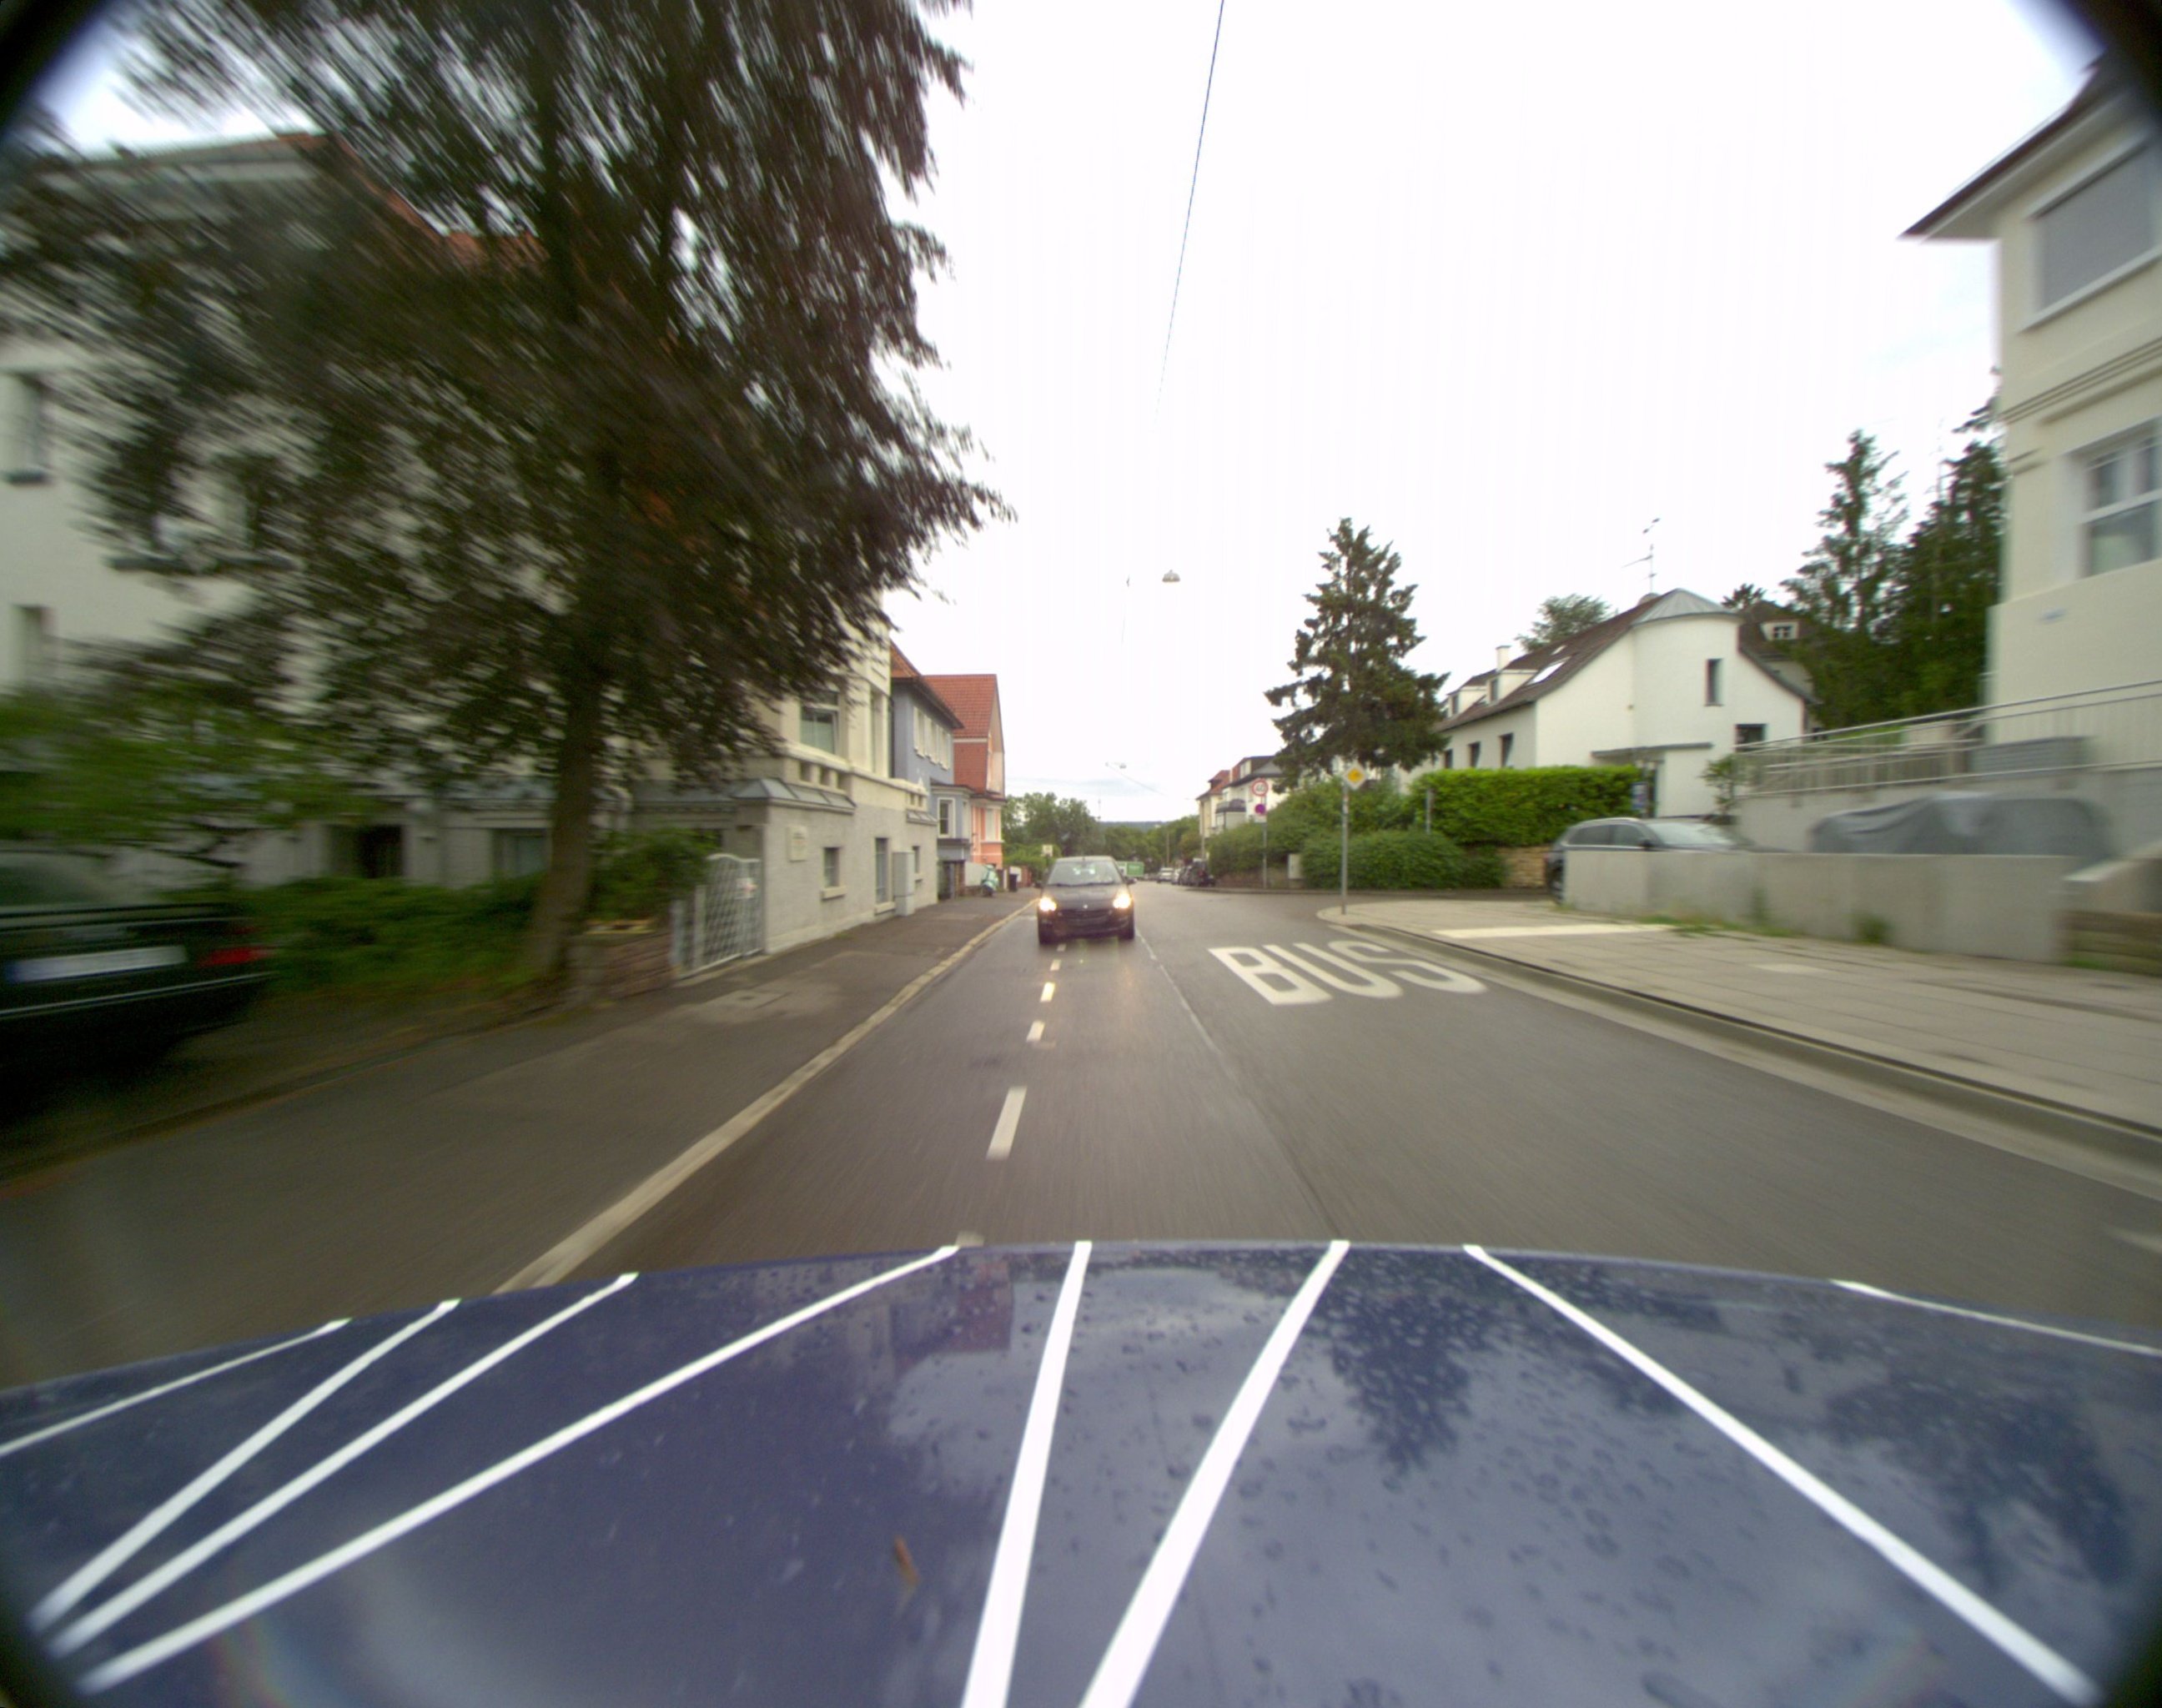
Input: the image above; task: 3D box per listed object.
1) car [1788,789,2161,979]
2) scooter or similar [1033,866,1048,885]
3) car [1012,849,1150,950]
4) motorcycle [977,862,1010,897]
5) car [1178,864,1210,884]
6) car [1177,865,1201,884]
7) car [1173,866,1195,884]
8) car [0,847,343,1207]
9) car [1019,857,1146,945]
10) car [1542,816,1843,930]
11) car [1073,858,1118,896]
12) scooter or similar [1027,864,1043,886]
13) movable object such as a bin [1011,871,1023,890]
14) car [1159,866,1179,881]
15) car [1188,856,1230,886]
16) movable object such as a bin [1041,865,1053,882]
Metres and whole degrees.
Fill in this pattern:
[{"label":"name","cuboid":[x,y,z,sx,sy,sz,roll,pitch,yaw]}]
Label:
[{"label":"car","cuboid":[10.364,0.272,8.105,1.770,1.686,3.999,-1,-1,-3]},{"label":"scooter or similar","cuboid":[-2.846,1.524,53.443,0.357,1.265,1.290,-1,1,-37]},{"label":"car","cuboid":[0.166,0.738,13.524,1.695,1.482,3.944,-3,-1,11]},{"label":"motorcycle","cuboid":[-3.301,0.956,28.765,0.694,1.219,2.154,5,0,5]},{"label":"car","cuboid":[8.691,1.553,58.826,1.696,1.482,4.404,-2,-1,-1]},{"label":"car","cuboid":[8.981,1.733,63.255,1.521,1.482,2.895,-2,-1,1]},{"label":"car","cuboid":[9.128,1.841,67.558,1.594,1.482,3.438,-2,-1,2]},{"label":"car","cuboid":[-6.732,0.794,3.825,4.156,1.478,1.976,-1,4,5]},{"label":"car","cuboid":[0.181,0.798,14.419,1.710,1.413,4.004,-1,-1,10]},{"label":"car","cuboid":[10.064,0.307,12.987,1.770,1.608,3.999,-1,-1,-3]},{"label":"car","cuboid":[0.662,1.032,34.829,1.928,1.577,4.001,-1,-1,1]},{"label":"scooter or similar","cuboid":[-3.048,1.398,50.281,0.355,1.394,1.481,-1,-1,25]},{"label":"movable object such as a bin","cuboid":[-3.226,1.346,38.562,0.533,0.913,0.488,2,-1,-1]},{"label":"car","cuboid":[9.301,2.060,80.561,1.868,1.492,4.002,-1,-1,4]},{"label":"car","cuboid":[8.841,1.198,52.905,1.999,1.945,4.775,-2,-1,-1]},{"label":"movable object such as a bin","cuboid":[-2.622,1.489,58.352,0.726,1.238,0.917,2,0,5]}]
